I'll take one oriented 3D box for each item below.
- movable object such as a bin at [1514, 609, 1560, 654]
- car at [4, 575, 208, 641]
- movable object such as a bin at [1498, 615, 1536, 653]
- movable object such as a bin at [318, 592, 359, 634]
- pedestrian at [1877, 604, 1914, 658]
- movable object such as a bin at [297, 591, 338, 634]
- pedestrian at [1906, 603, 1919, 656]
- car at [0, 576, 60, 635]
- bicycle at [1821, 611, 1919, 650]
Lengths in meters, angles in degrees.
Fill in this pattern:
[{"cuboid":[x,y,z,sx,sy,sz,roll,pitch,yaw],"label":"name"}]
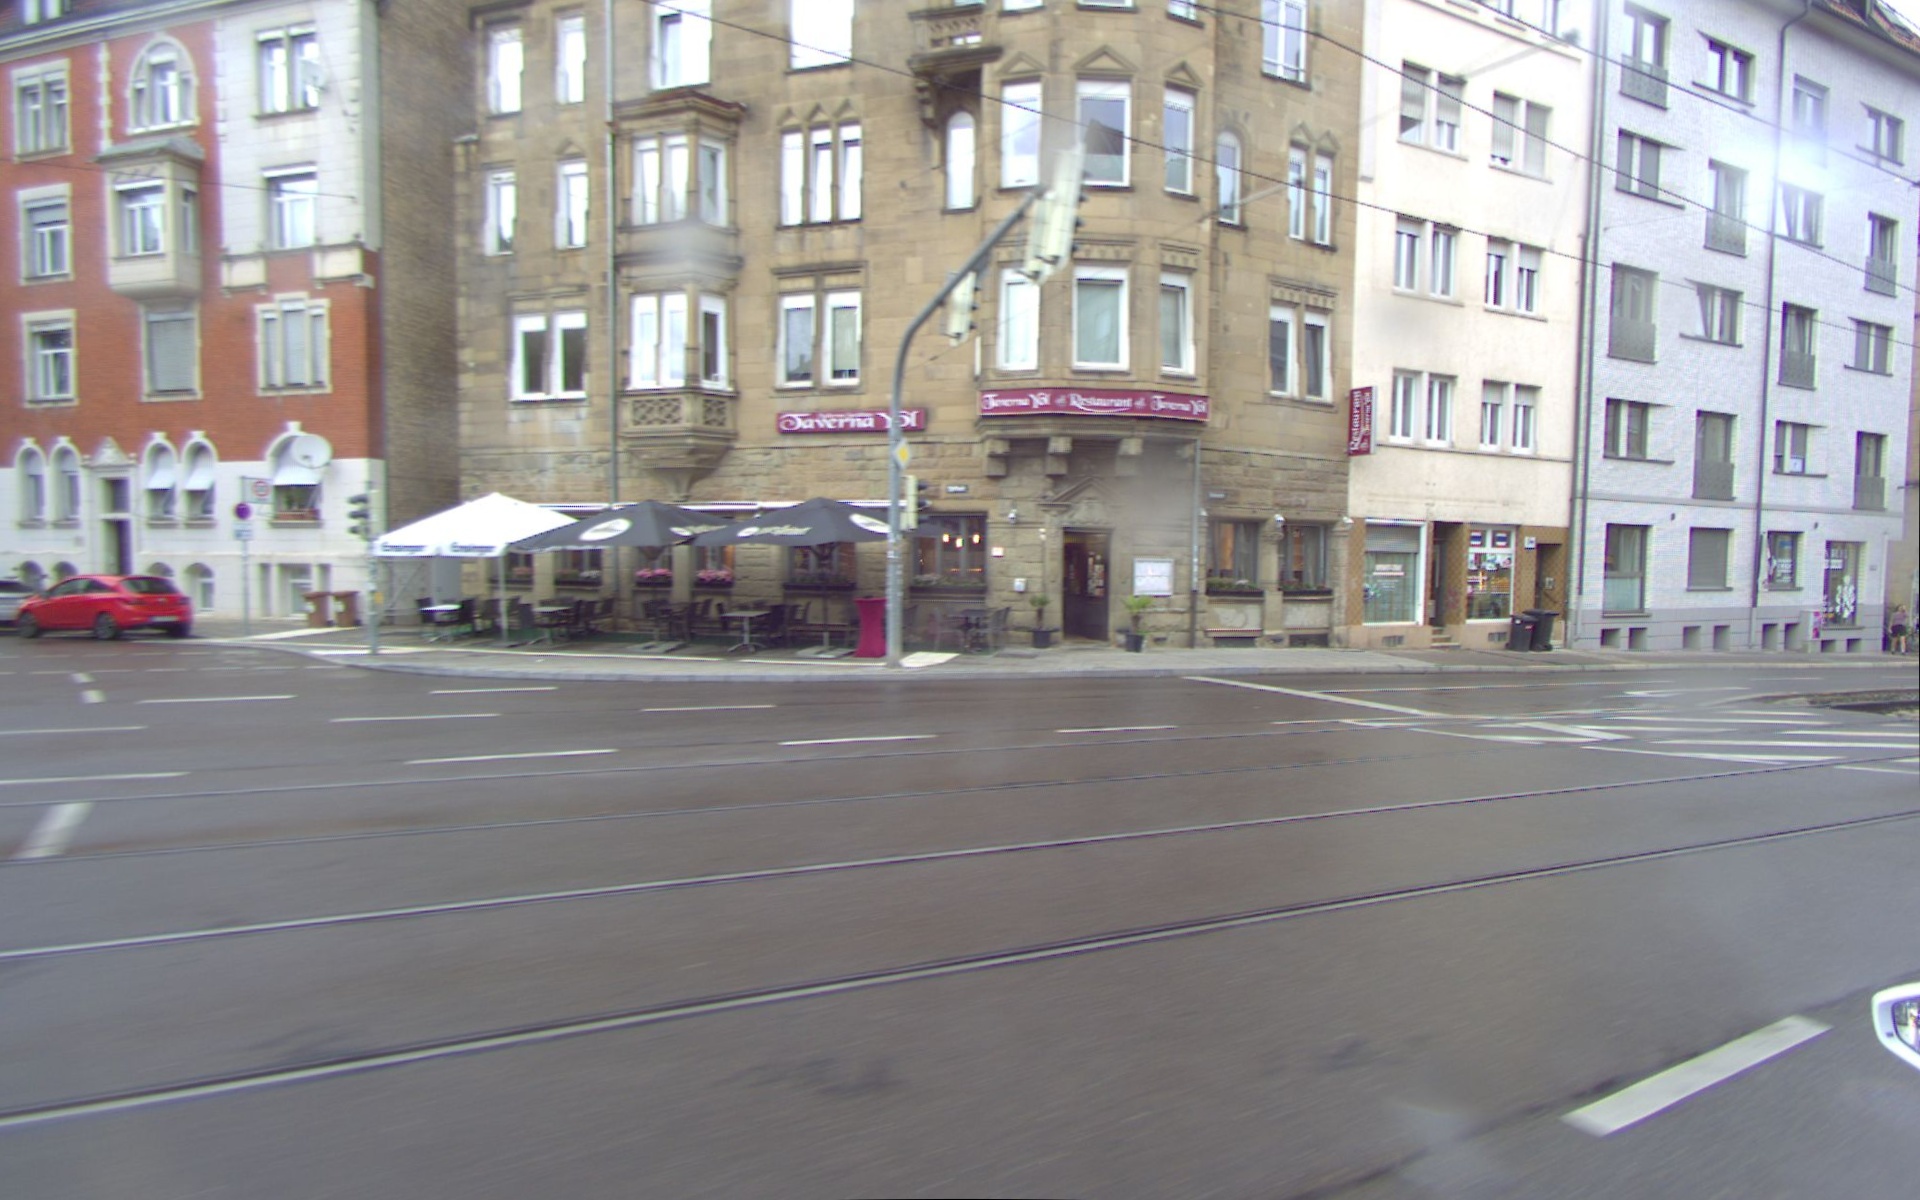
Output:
[{"cuboid":[15.074,0.812,26.245,0.678,1.088,0.710,1,4,-26],"label":"movable object such as a bin"},{"cuboid":[-19.836,0.168,23.363,3.920,1.422,1.743,1,0,16],"label":"car"},{"cuboid":[14.439,0.887,26.050,0.553,0.923,0.591,1,4,-26],"label":"movable object such as a bin"},{"cuboid":[-15.734,0.325,25.429,0.540,1.056,0.722,1,0,5],"label":"movable object such as a bin"},{"cuboid":[32.341,1.065,34.727,0.912,1.810,0.638,3,-1,-27],"label":"pedestrian"},{"cuboid":[-16.311,0.308,25.511,0.540,1.056,0.722,1,0,5],"label":"movable object such as a bin"},{"cuboid":[32.884,1.023,34.264,0.870,1.810,0.627,3,-1,-27],"label":"pedestrian"},{"cuboid":[-24.654,0.097,24.785,4.084,1.422,1.743,1,0,16],"label":"car"},{"cuboid":[40.878,1.347,45.105,1.583,1.605,3.123,1,0,-37],"label":"bicycle"}]
